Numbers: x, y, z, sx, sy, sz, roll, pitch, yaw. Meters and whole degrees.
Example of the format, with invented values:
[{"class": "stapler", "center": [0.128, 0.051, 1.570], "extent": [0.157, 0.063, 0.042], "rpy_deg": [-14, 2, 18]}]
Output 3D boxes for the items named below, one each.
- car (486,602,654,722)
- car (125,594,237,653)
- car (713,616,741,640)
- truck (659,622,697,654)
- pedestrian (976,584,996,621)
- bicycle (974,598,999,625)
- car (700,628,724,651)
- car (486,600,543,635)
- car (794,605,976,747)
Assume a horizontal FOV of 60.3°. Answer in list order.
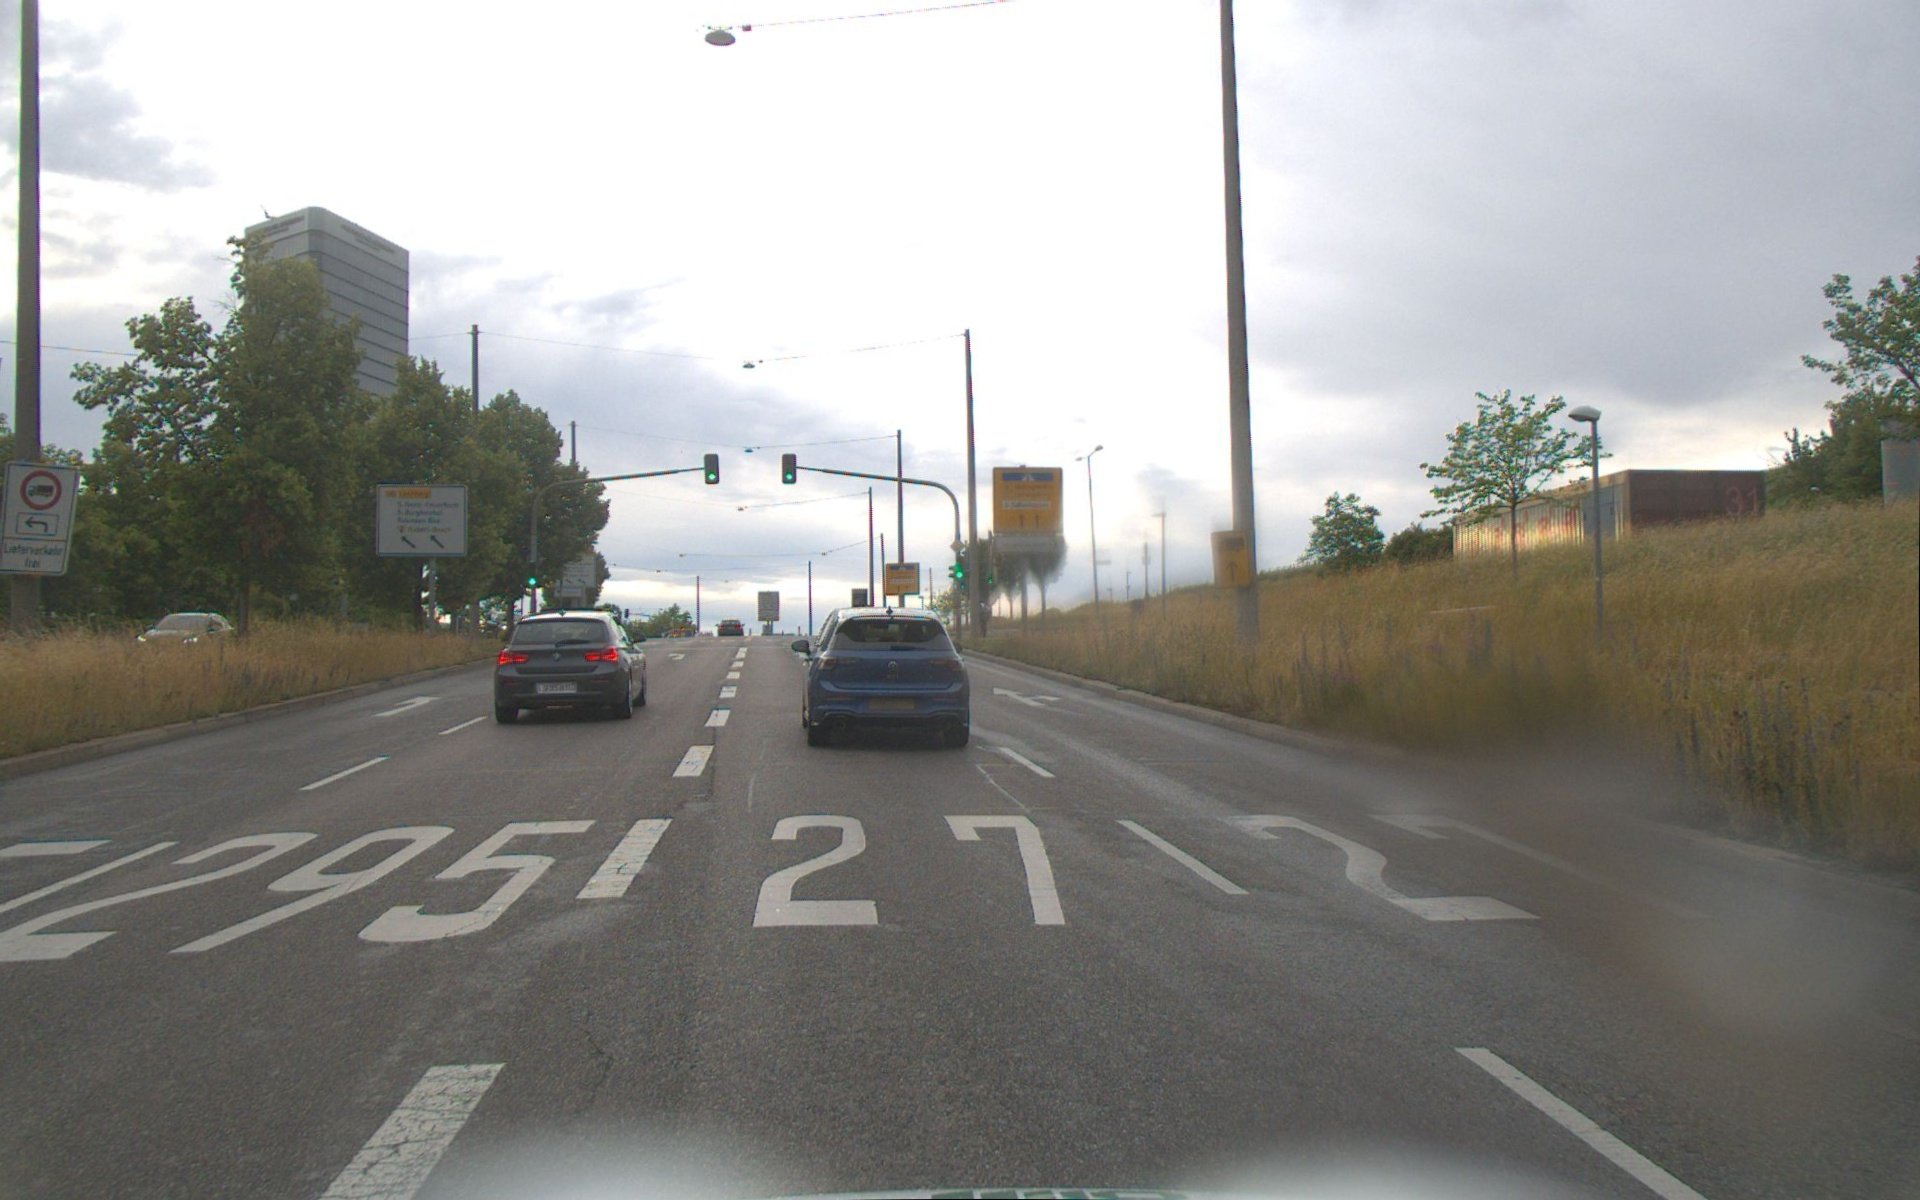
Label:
[{"class": "car", "center": [-5.291, 0.789, 22.871], "extent": [1.834, 1.487, 3.969], "rpy_deg": [0, 0, -7]}, {"class": "car", "center": [-22.769, 0.664, 48.469], "extent": [1.957, 1.668, 4.009], "rpy_deg": [0, 0, -10]}, {"class": "car", "center": [-16.324, 1.958, 115.778], "extent": [1.688, 1.568, 3.699], "rpy_deg": [1, -1, -5]}, {"class": "truck", "center": [-30.572, 4.170, 179.150], "extent": [2.631, 3.277, 6.498], "rpy_deg": [1, -3, -24]}, {"class": "pedestrian", "center": [1.142, 0.116, 72.881], "extent": [0.622, 1.598, 0.892], "rpy_deg": [-2, -1, -15]}, {"class": "bicycle", "center": [1.163, 0.509, 72.856], "extent": [0.622, 1.124, 1.746], "rpy_deg": [-2, 0, -15]}, {"class": "car", "center": [-24.550, 3.939, 163.786], "extent": [1.872, 2.008, 5.072], "rpy_deg": [-1, -3, -14]}, {"class": "car", "center": [-22.225, 0.848, 82.468], "extent": [1.868, 1.533, 3.963], "rpy_deg": [1, 2, -29]}, {"class": "car", "center": [-0.953, 0.801, 18.797], "extent": [1.802, 1.418, 3.994], "rpy_deg": [1, -1, -6]}]
